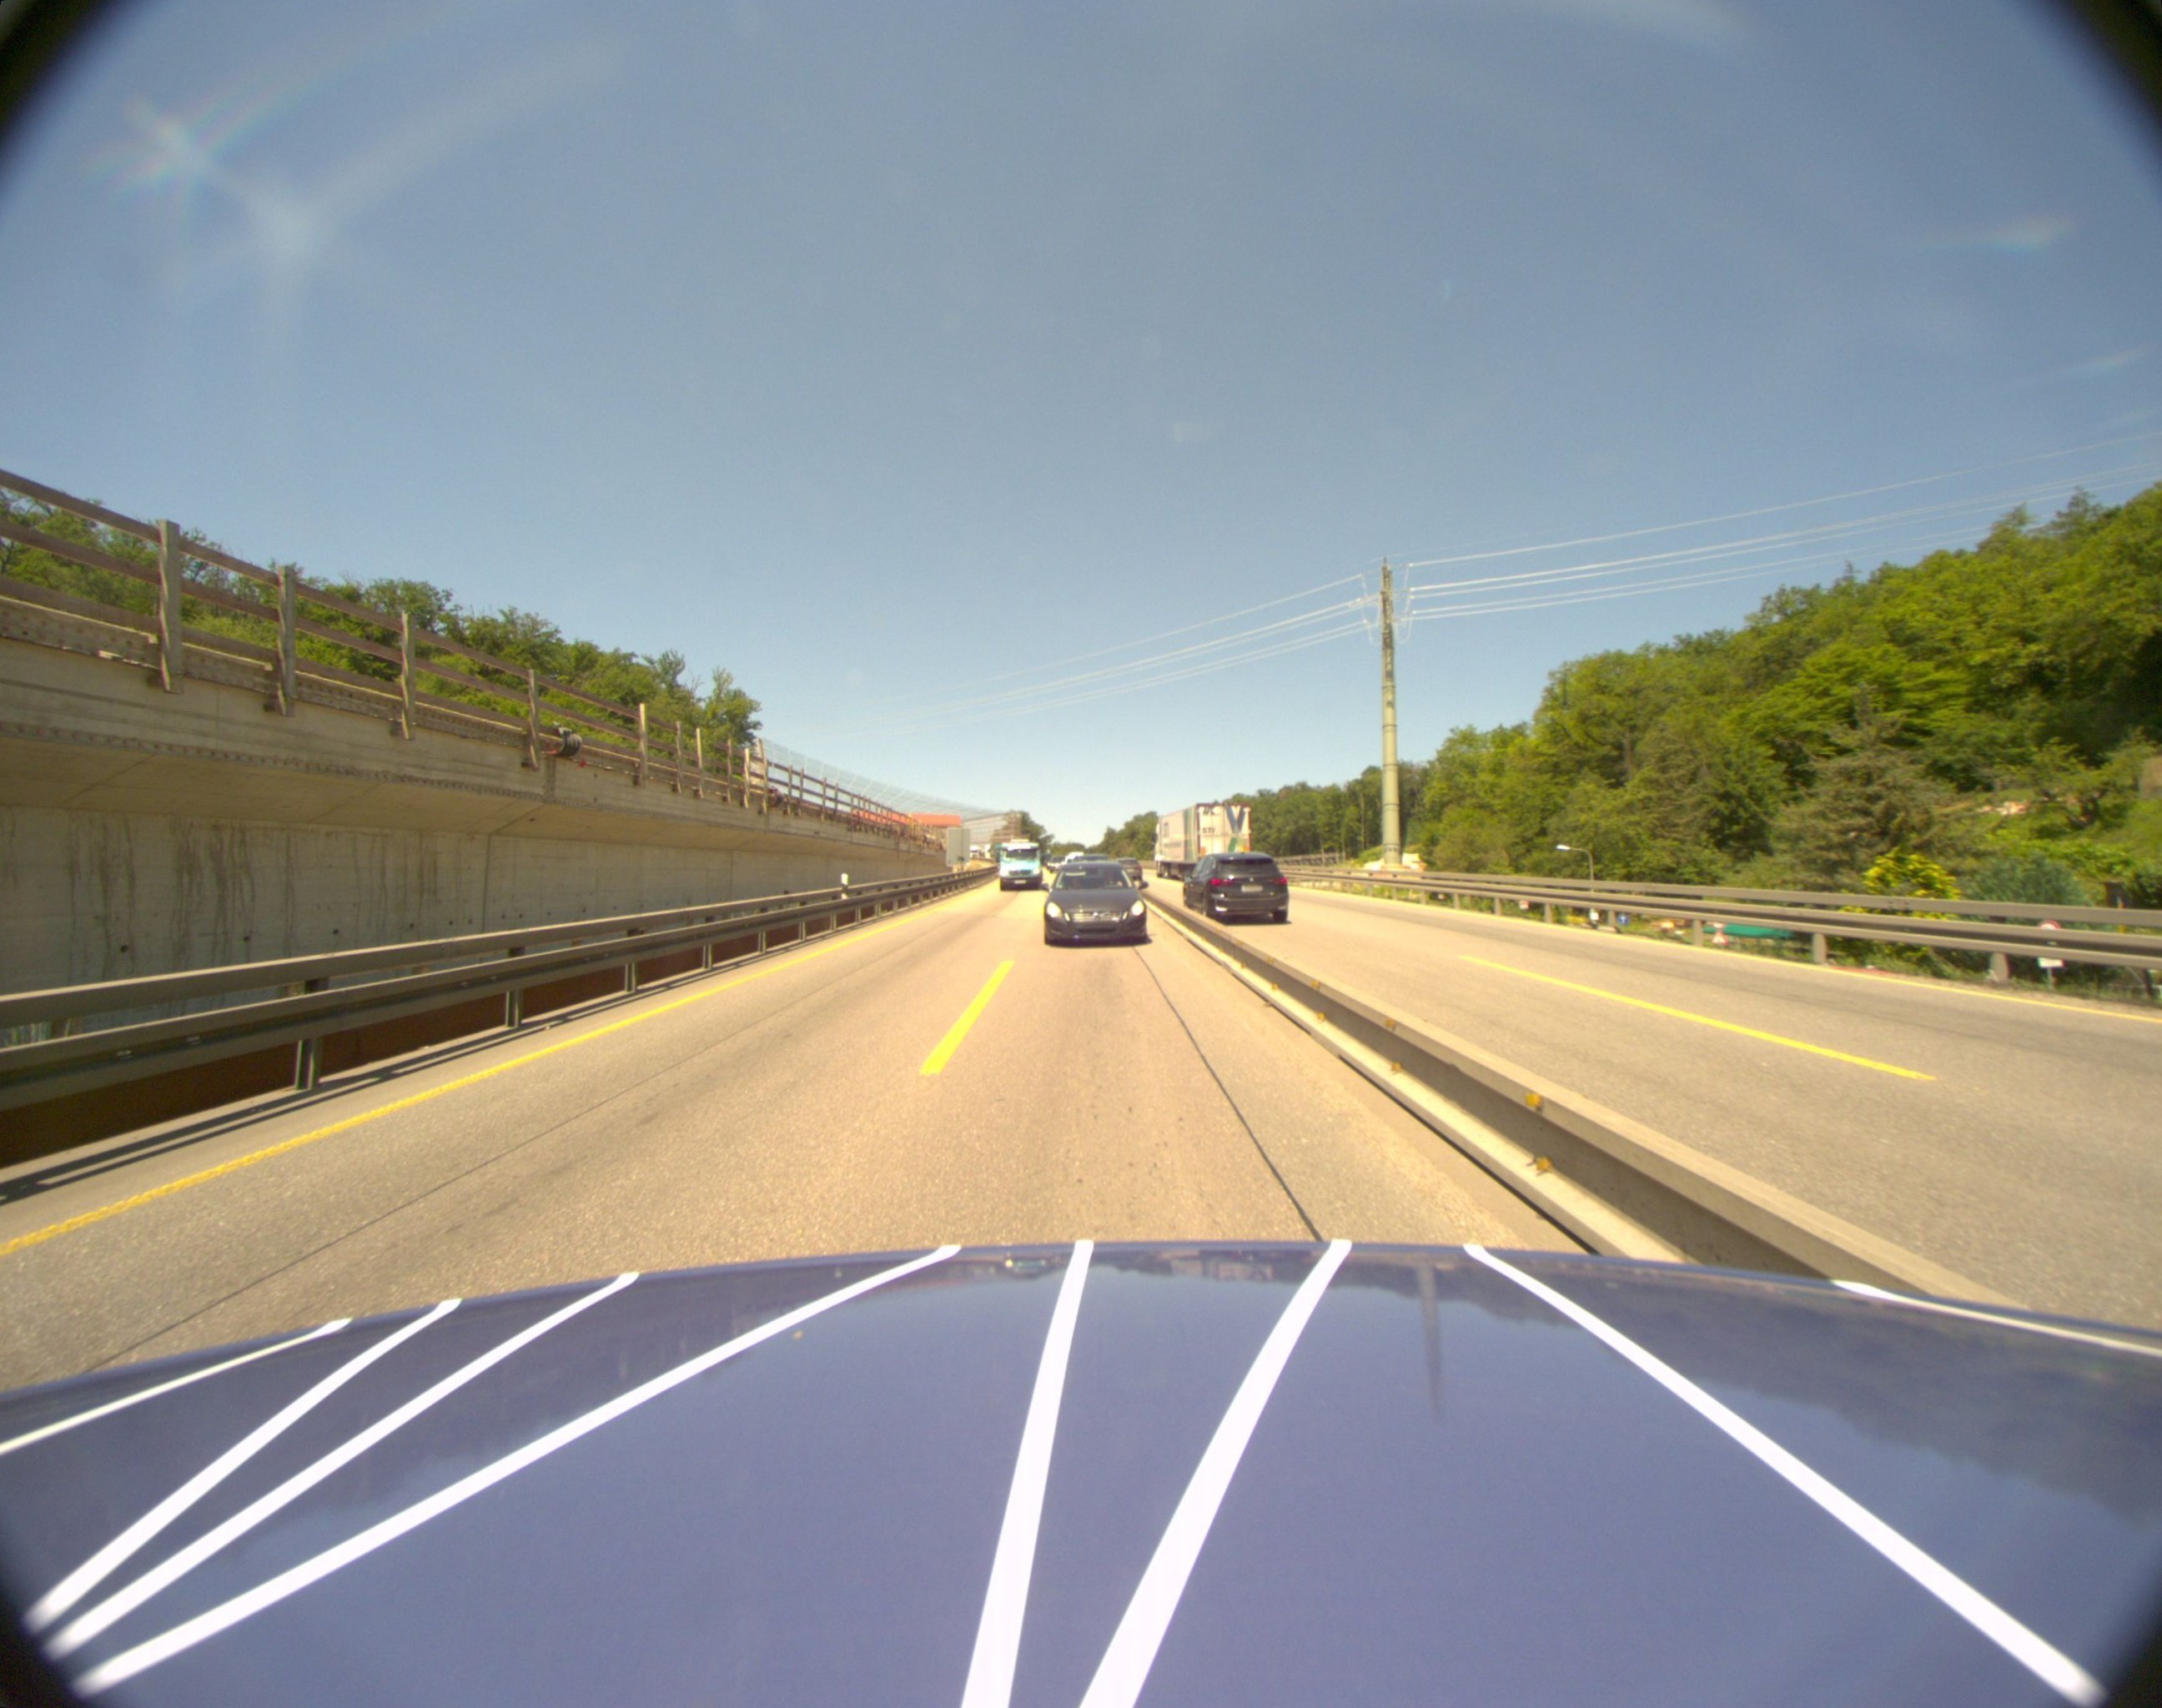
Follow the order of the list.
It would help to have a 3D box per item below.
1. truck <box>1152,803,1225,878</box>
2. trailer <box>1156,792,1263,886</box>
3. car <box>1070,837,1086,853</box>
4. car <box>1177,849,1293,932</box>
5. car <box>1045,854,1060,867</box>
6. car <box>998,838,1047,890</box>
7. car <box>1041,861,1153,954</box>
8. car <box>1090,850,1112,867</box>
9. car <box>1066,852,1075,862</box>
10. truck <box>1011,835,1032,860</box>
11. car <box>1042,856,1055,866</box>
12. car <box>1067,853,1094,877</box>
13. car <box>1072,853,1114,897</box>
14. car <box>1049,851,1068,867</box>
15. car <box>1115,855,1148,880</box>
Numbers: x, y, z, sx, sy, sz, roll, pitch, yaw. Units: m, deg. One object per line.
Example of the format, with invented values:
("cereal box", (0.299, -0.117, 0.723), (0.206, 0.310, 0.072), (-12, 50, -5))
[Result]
("truck", (6.772, -0.873, 49.299), (3.312, 4.337, 8.299), (-2, 1, -1))
("trailer", (6.836, -0.789, 43.305), (3.260, 4.353, 14.054), (-2, 1, -1))
("car", (-0.399, -1.193, 102.354), (1.999, 1.999, 4.856), (-1, 1, -1))
("car", (3.449, 0.738, 17.821), (1.824, 1.577, 4.159), (-4, 1, 1))
("car", (-3.259, 0.794, 88.172), (1.647, 1.366, 3.344), (-2, 1, -1))
("car", (-2.875, 0.429, 38.426), (2.217, 2.312, 6.899), (-1, 1, -3))
("car", (0.158, 0.918, 14.988), (1.844, 1.475, 4.561), (-1, 0, -3))
("car", (1.899, 0.387, 73.425), (1.850, 1.565, 3.999), (-1, 1, -1))
("car", (-2.255, 0.667, 164.367), (1.999, 1.999, 4.856), (-1, 1, -1))
("truck", (-9.106, -0.972, 115.967), (2.472, 3.464, 9.860), (-2, 1, -7))
("car", (-4.554, 0.991, 105.628), (1.586, 1.366, 3.345), (-1, 0, 1))
("car", (-0.016, 0.731, 52.638), (1.736, 1.557, 3.619), (-2, 1, 0))
("car", (0.454, 0.760, 29.882), (1.519, 1.543, 3.860), (-1, 1, 0))
("car", (-2.124, 0.493, 71.709), (1.647, 1.366, 3.344), (-2, 1, 1))
("car", (3.155, 0.810, 48.157), (1.795, 1.444, 4.634), (-1, 1, 0))
